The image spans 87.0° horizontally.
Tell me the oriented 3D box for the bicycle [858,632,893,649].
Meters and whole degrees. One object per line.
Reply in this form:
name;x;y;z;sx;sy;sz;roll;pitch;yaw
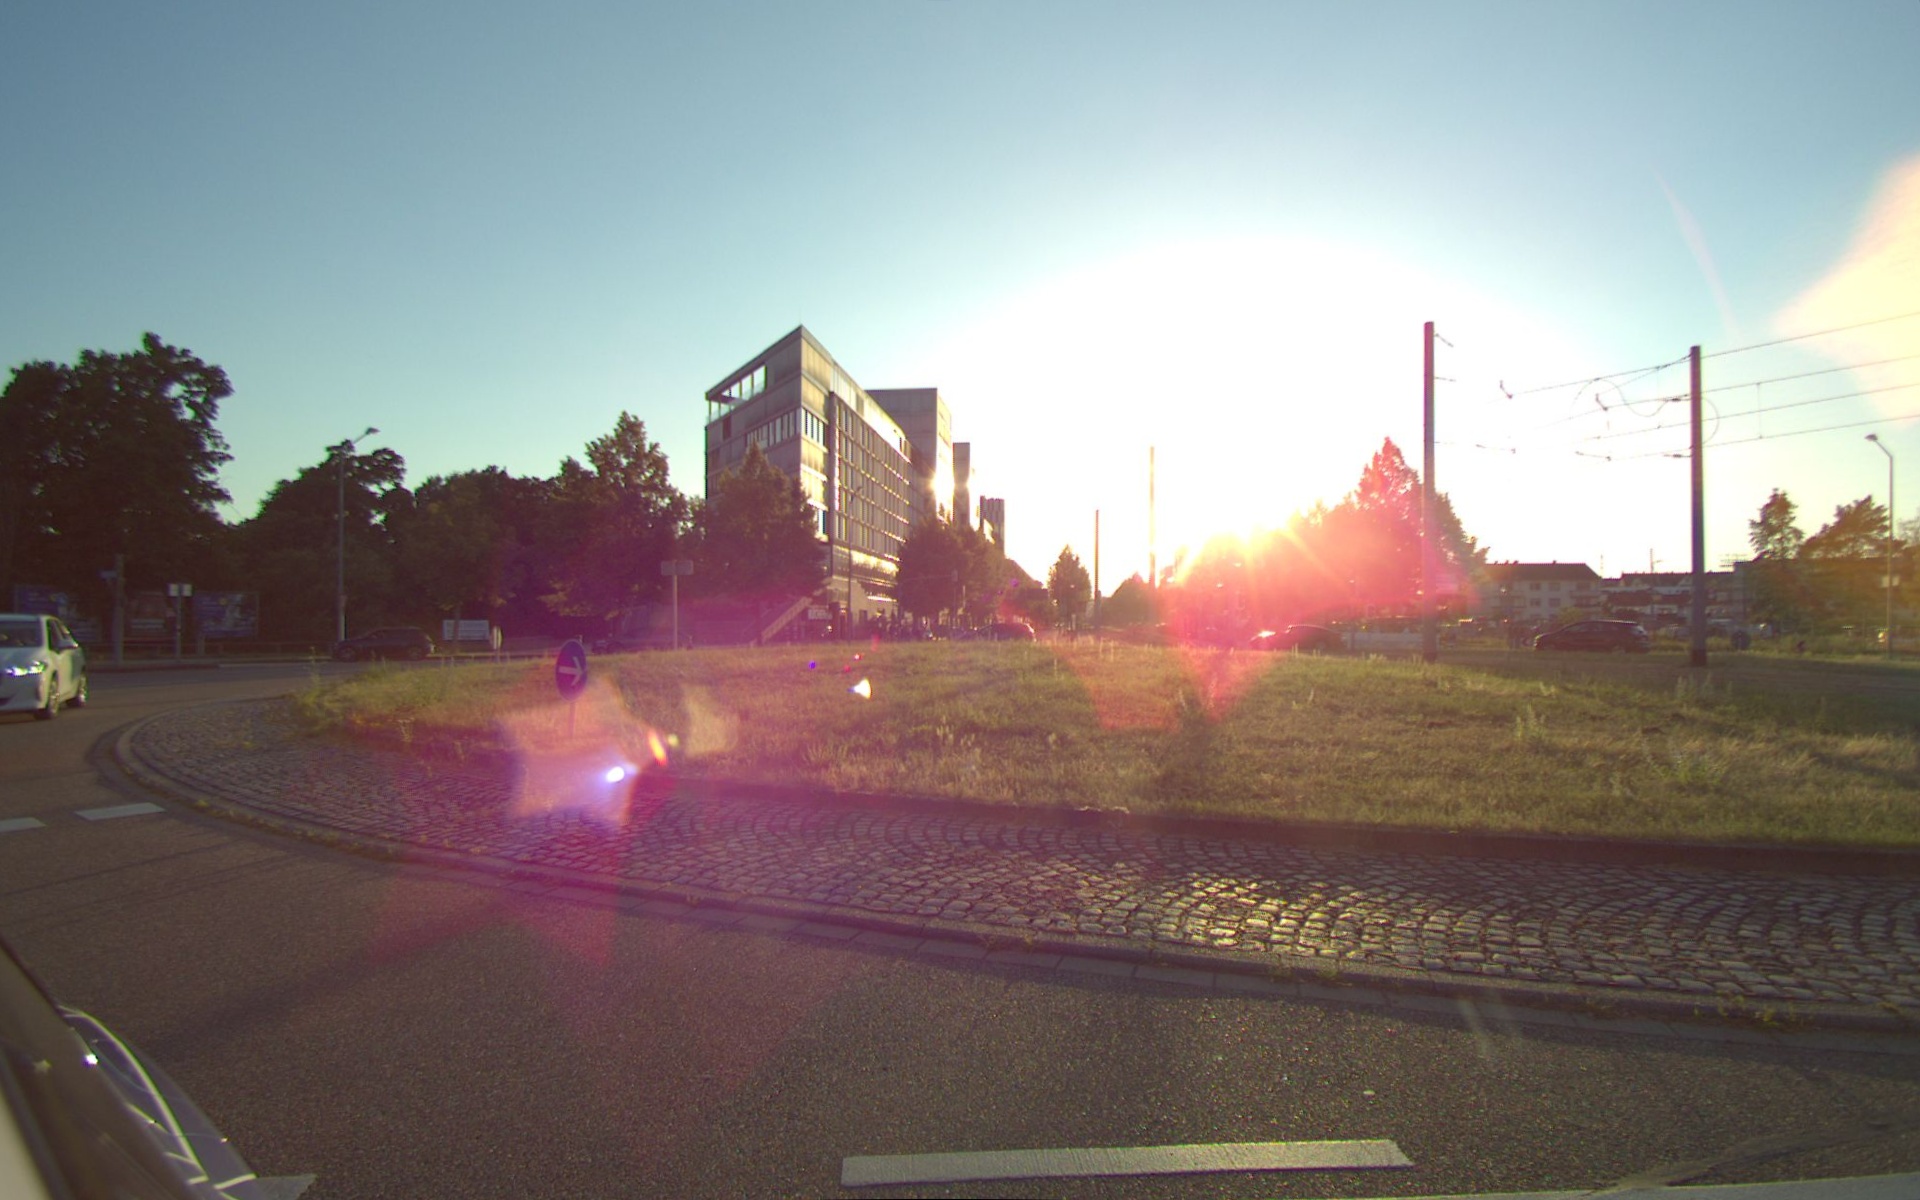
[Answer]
bicycle;-5.826;2.808;69.840;2.375;1.176;0.755;0;-2;-1

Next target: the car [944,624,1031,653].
car;1.420;2.005;53.484;4.336;1.443;1.947;0;-1;-5

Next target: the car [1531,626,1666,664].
car;26.230;1.812;41.700;1.914;1.443;4.328;1;-2;-39

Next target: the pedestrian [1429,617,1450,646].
pedestrian;30.736;2.037;64.871;1.157;1.841;0.970;-1;-2;29

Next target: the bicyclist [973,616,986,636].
bicyclist;1.522;2.025;79.289;0.963;1.537;0.755;0;-2;-5

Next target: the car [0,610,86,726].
car;-14.515;0.956;15.114;1.731;1.570;4.225;1;-1;-35

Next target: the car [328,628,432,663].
car;-25.165;1.954;44.052;3.685;1.443;1.951;0;-1;-23

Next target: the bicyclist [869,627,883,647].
bicyclist;-5.797;2.557;69.826;0.866;1.403;0.755;0;-2;-2

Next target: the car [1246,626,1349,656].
car;17.017;2.066;51.073;4.583;1.443;1.922;-1;-2;34

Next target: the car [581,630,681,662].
car;-15.794;2.177;48.640;4.327;1.443;1.951;0;-1;-27

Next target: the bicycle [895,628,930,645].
bicycle;-3.357;2.598;71.205;2.373;1.176;0.755;0;-2;-4
